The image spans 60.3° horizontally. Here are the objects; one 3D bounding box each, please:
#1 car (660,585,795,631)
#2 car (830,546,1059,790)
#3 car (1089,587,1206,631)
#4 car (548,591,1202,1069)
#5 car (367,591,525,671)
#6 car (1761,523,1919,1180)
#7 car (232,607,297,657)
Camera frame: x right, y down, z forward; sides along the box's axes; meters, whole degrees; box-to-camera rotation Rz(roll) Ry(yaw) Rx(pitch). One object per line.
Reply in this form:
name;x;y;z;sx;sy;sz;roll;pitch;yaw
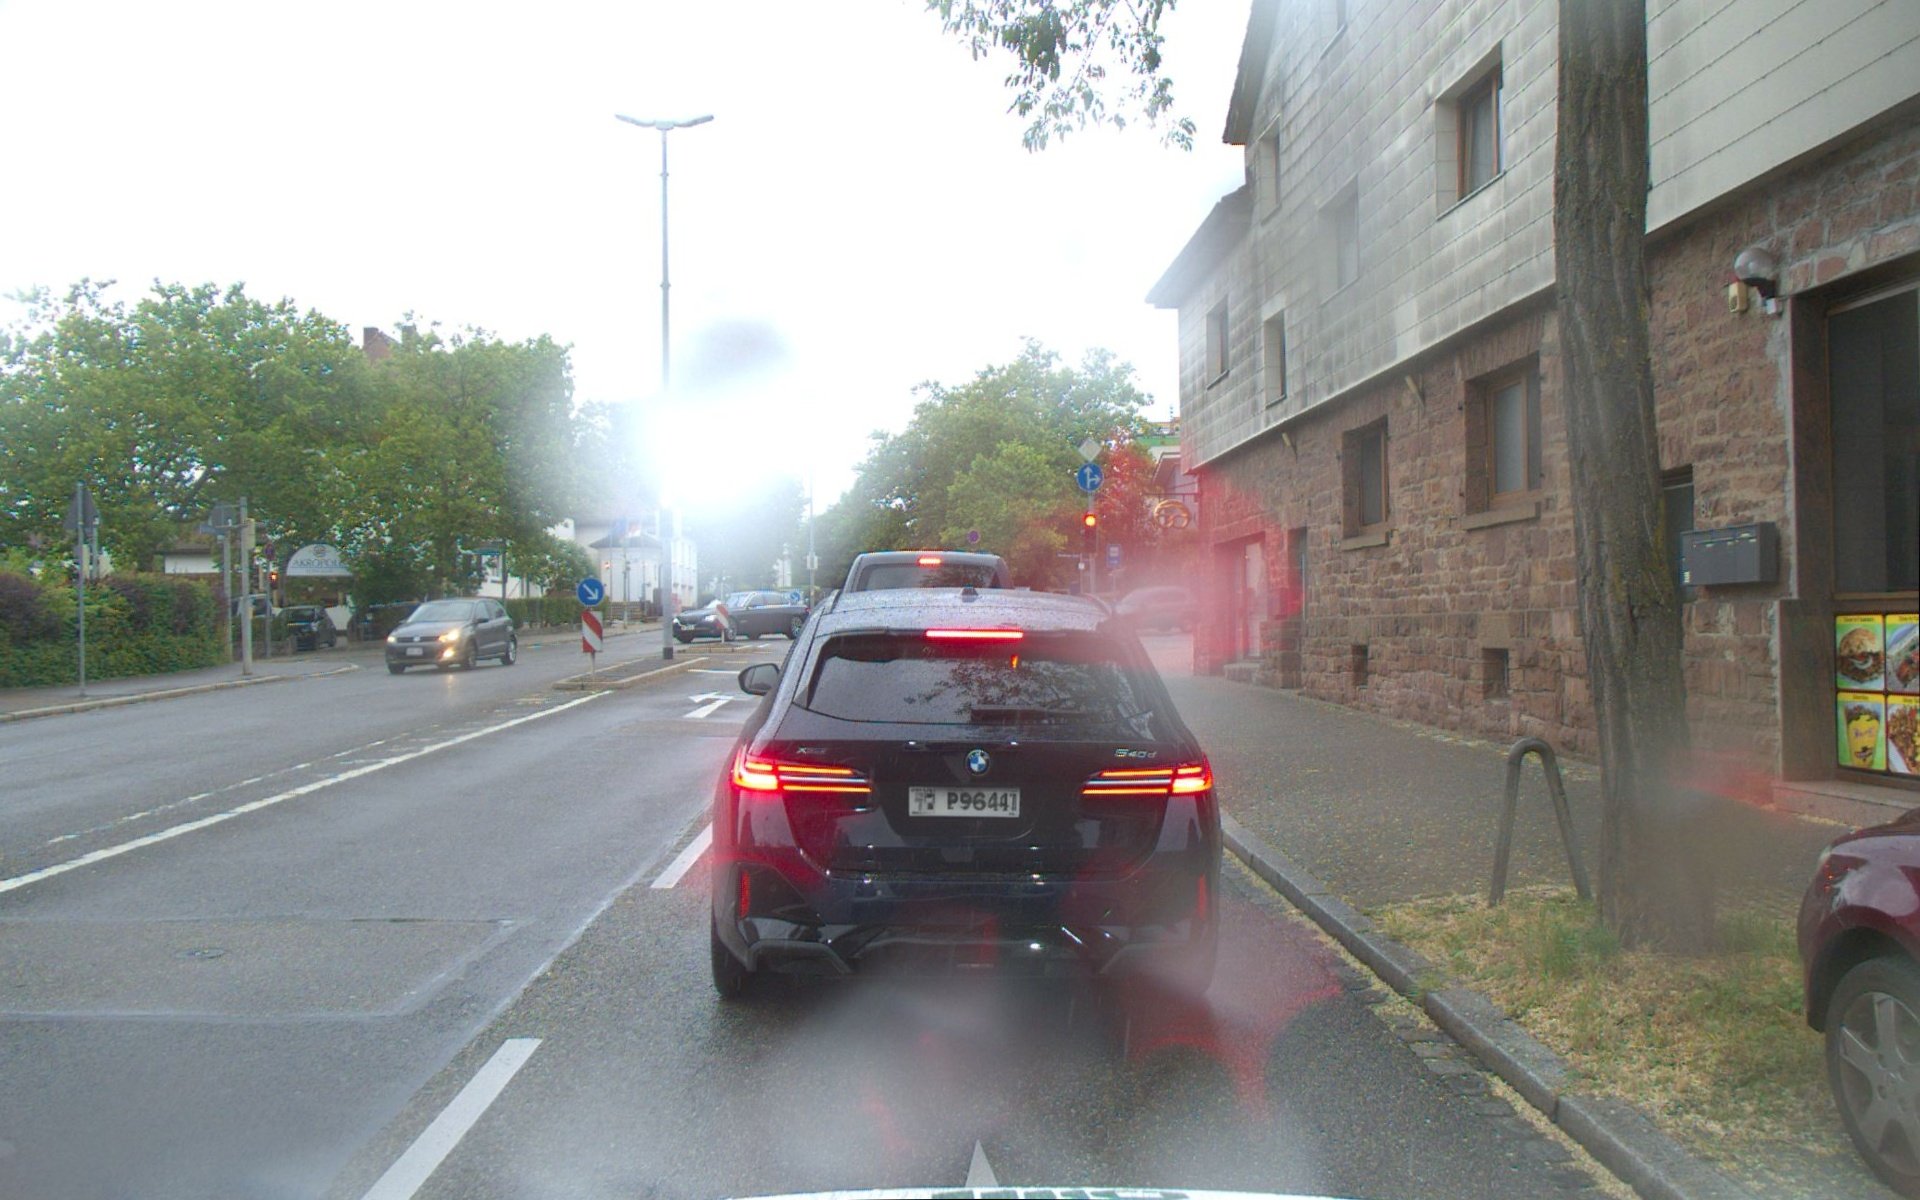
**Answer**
car;-6.964;0.214;49.901;1.811;1.311;3.985;0;1;36
car;-0.215;0.494;14.583;1.748;1.849;3.998;0;0;-3
car;6.890;0.303;60.873;3.933;1.579;1.812;0;0;-23
car;-0.377;0.715;7.402;2.023;1.472;4.480;1;0;-3
car;-10.413;0.588;33.799;1.952;1.536;3.955;0;0;0
car;3.042;0.558;2.617;1.553;1.516;3.625;-3;1;-4
car;-23.794;1.071;56.671;1.966;1.579;3.973;0;0;-22
